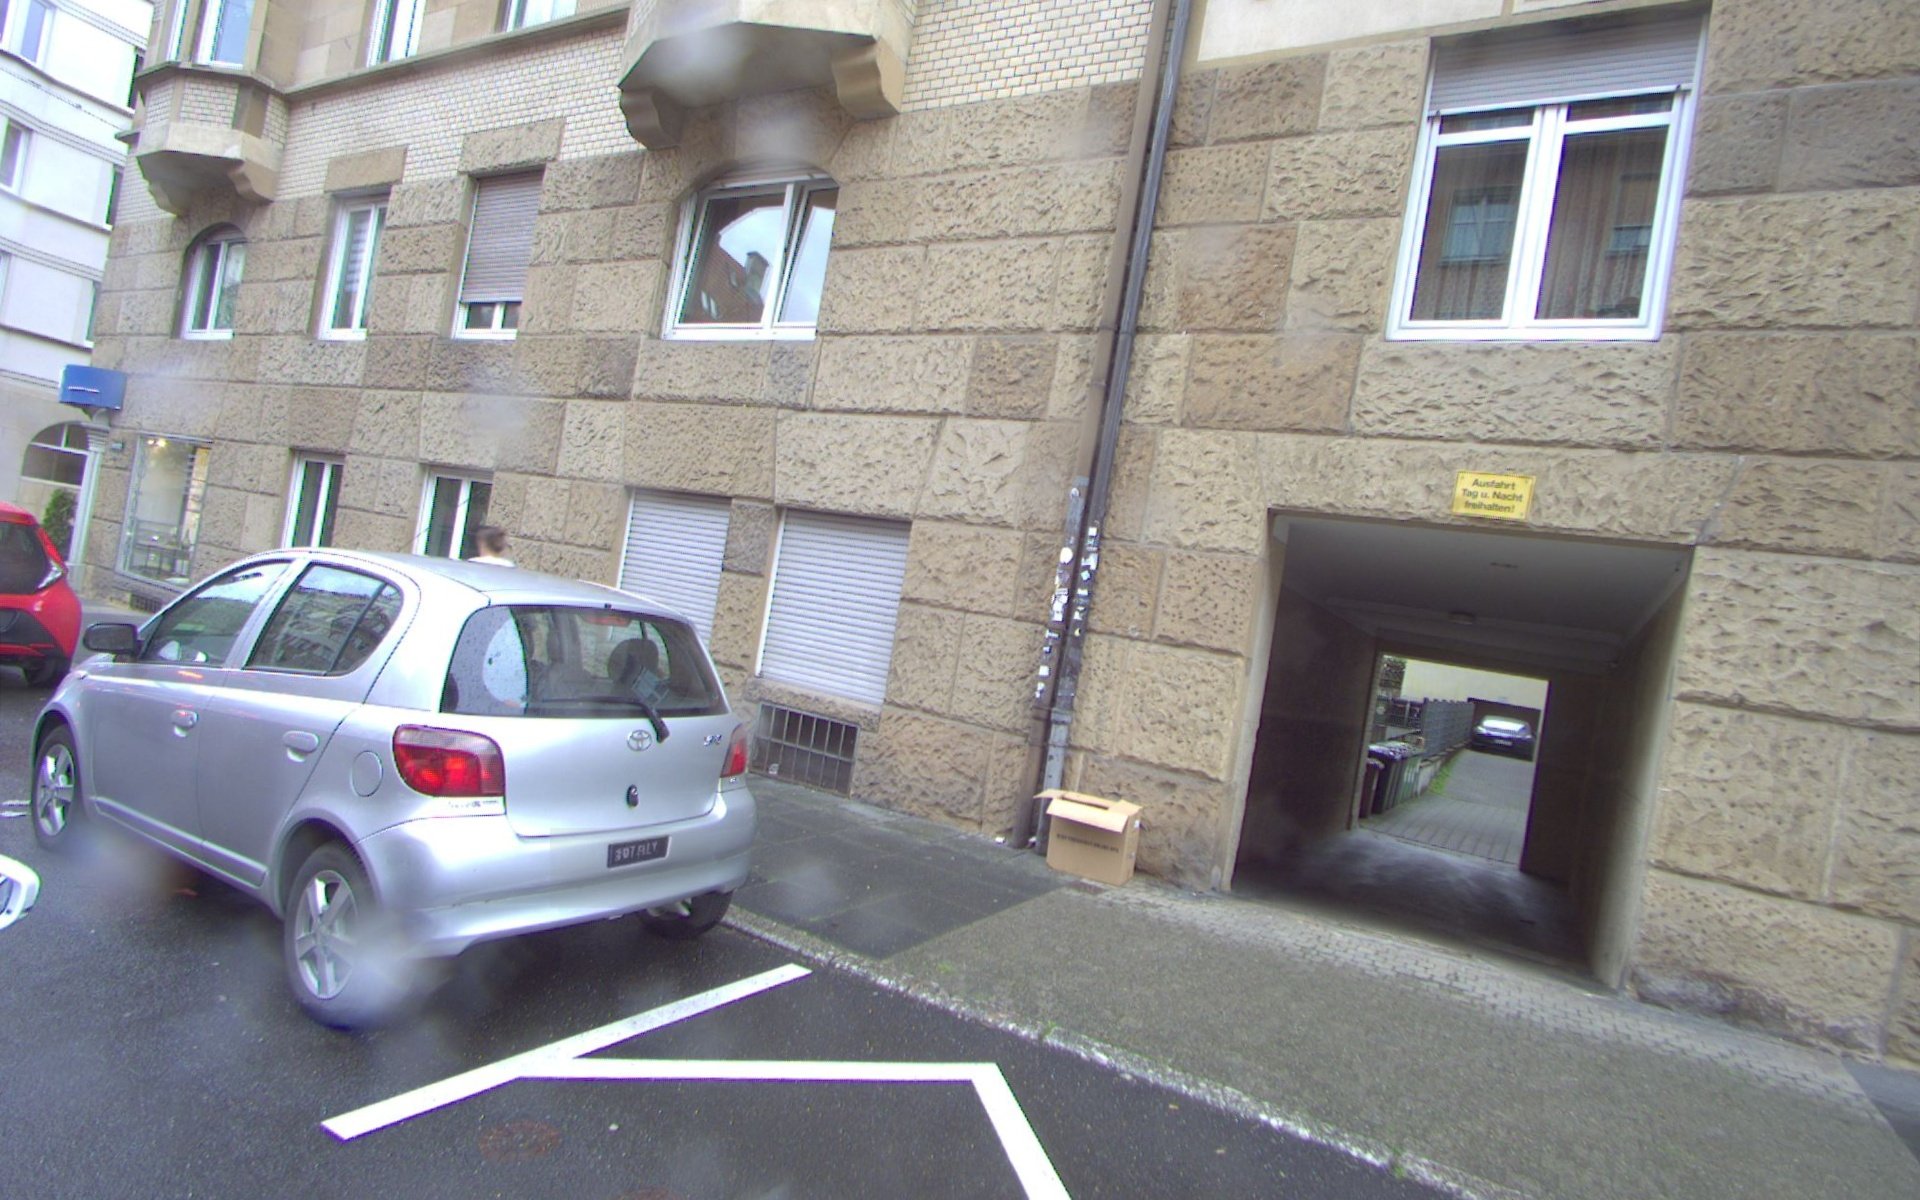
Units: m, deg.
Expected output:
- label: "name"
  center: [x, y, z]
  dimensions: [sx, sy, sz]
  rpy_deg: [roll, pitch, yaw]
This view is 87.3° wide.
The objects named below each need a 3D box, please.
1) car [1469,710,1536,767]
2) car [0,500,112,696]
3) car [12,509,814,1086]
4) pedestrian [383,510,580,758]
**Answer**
- label: "car"
  center: [18.346, 4.647, 33.956]
  dimensions: [1.693, 1.538, 4.102]
  rpy_deg: [7, -3, 31]
- label: "car"
  center: [-8.730, -0.203, 8.187]
  dimensions: [3.243, 1.464, 1.646]
  rpy_deg: [7, -2, 29]
- label: "car"
  center: [-2.481, 0.544, 4.410]
  dimensions: [3.258, 1.485, 1.616]
  rpy_deg: [7, 0, 33]
- label: "pedestrian"
  center: [-3.760, 0.255, 7.918]
  dimensions: [1.093, 1.768, 0.743]
  rpy_deg: [6, -1, 32]
